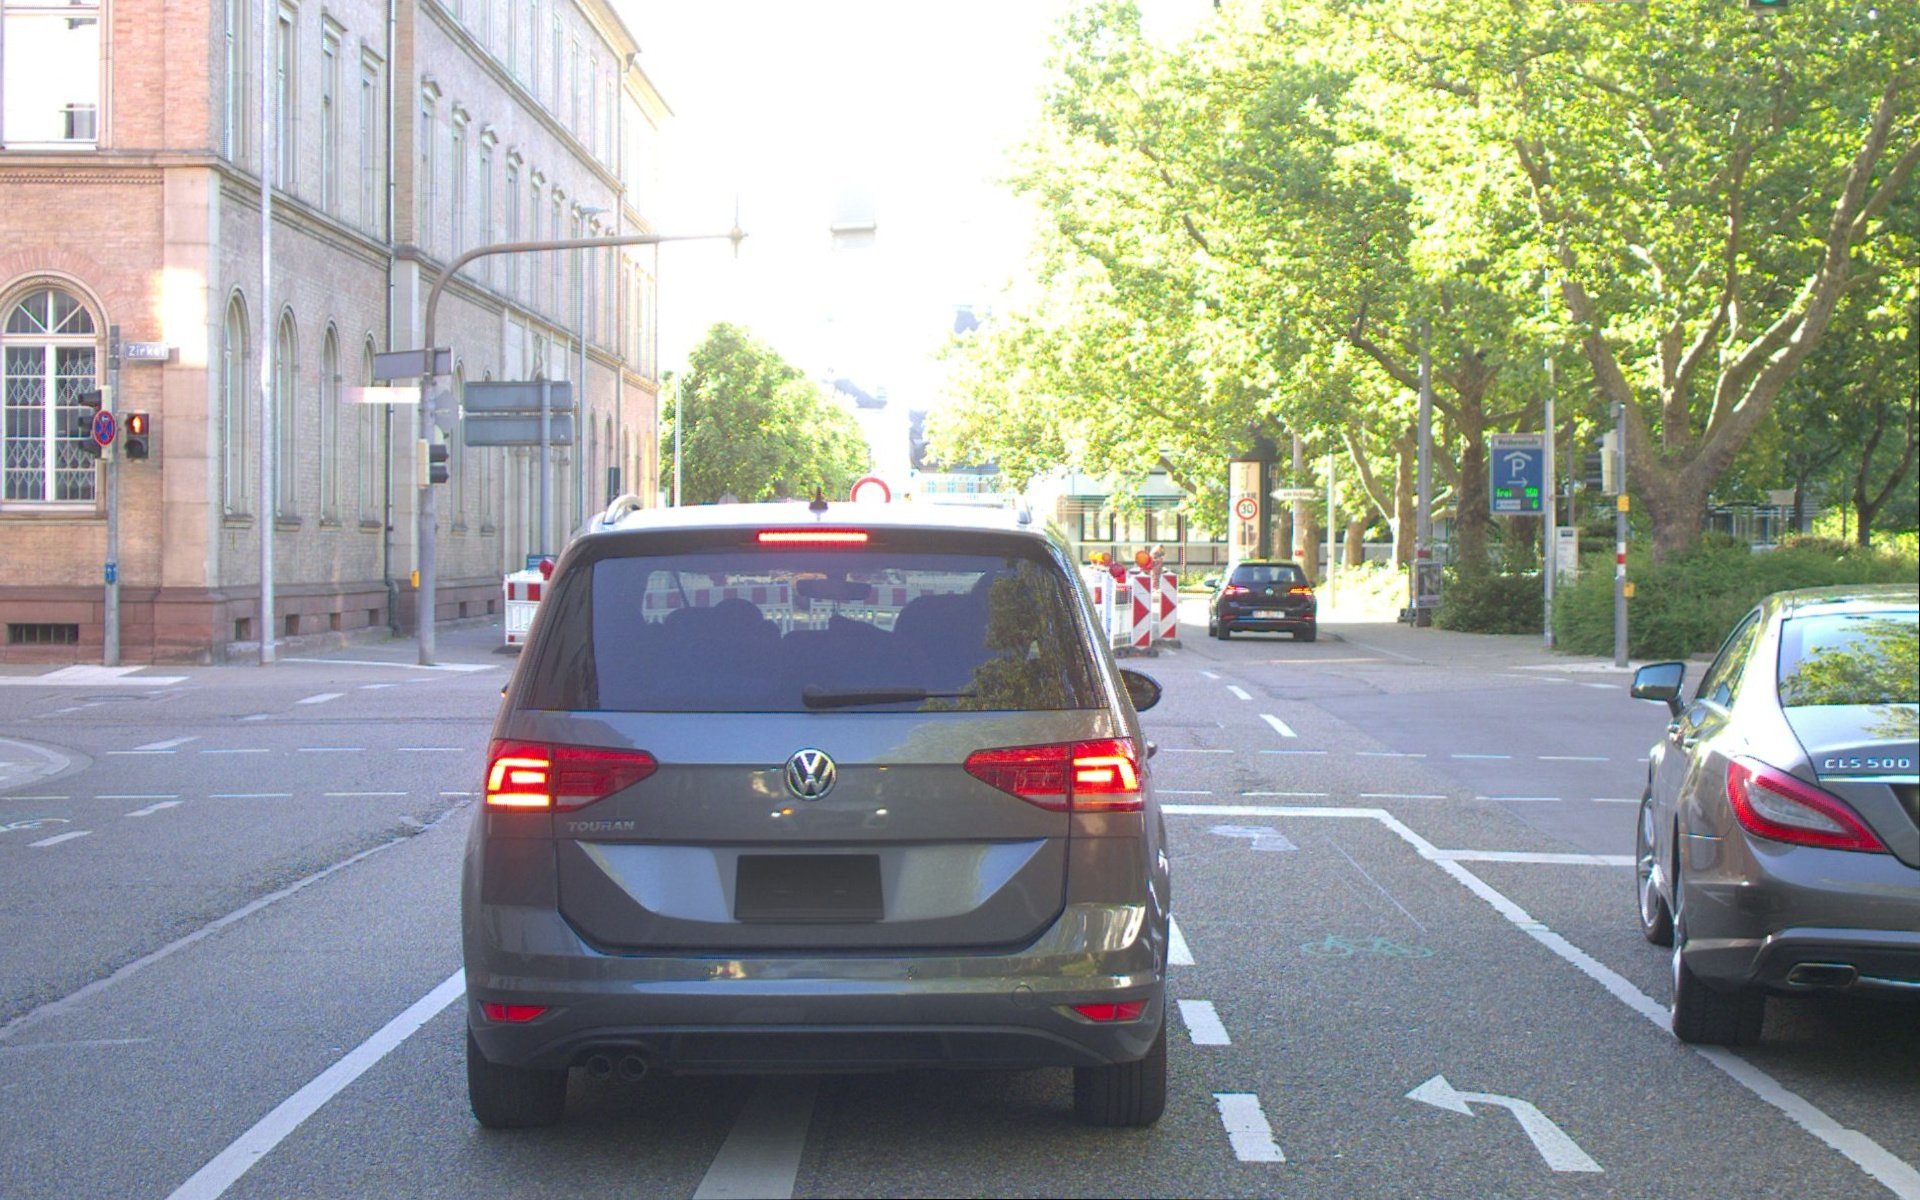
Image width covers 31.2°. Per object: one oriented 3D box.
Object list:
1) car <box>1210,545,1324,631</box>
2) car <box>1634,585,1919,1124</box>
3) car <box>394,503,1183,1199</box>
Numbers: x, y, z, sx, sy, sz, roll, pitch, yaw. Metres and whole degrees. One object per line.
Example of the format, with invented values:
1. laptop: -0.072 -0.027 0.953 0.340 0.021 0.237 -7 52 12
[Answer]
1. car: 5.468 -0.229 61.559 1.689 1.435 3.902 2 1 1
2. car: 3.286 0.691 11.463 1.843 1.424 4.516 1 1 9
3. car: -0.328 0.559 9.868 1.809 1.607 4.000 0 1 2
